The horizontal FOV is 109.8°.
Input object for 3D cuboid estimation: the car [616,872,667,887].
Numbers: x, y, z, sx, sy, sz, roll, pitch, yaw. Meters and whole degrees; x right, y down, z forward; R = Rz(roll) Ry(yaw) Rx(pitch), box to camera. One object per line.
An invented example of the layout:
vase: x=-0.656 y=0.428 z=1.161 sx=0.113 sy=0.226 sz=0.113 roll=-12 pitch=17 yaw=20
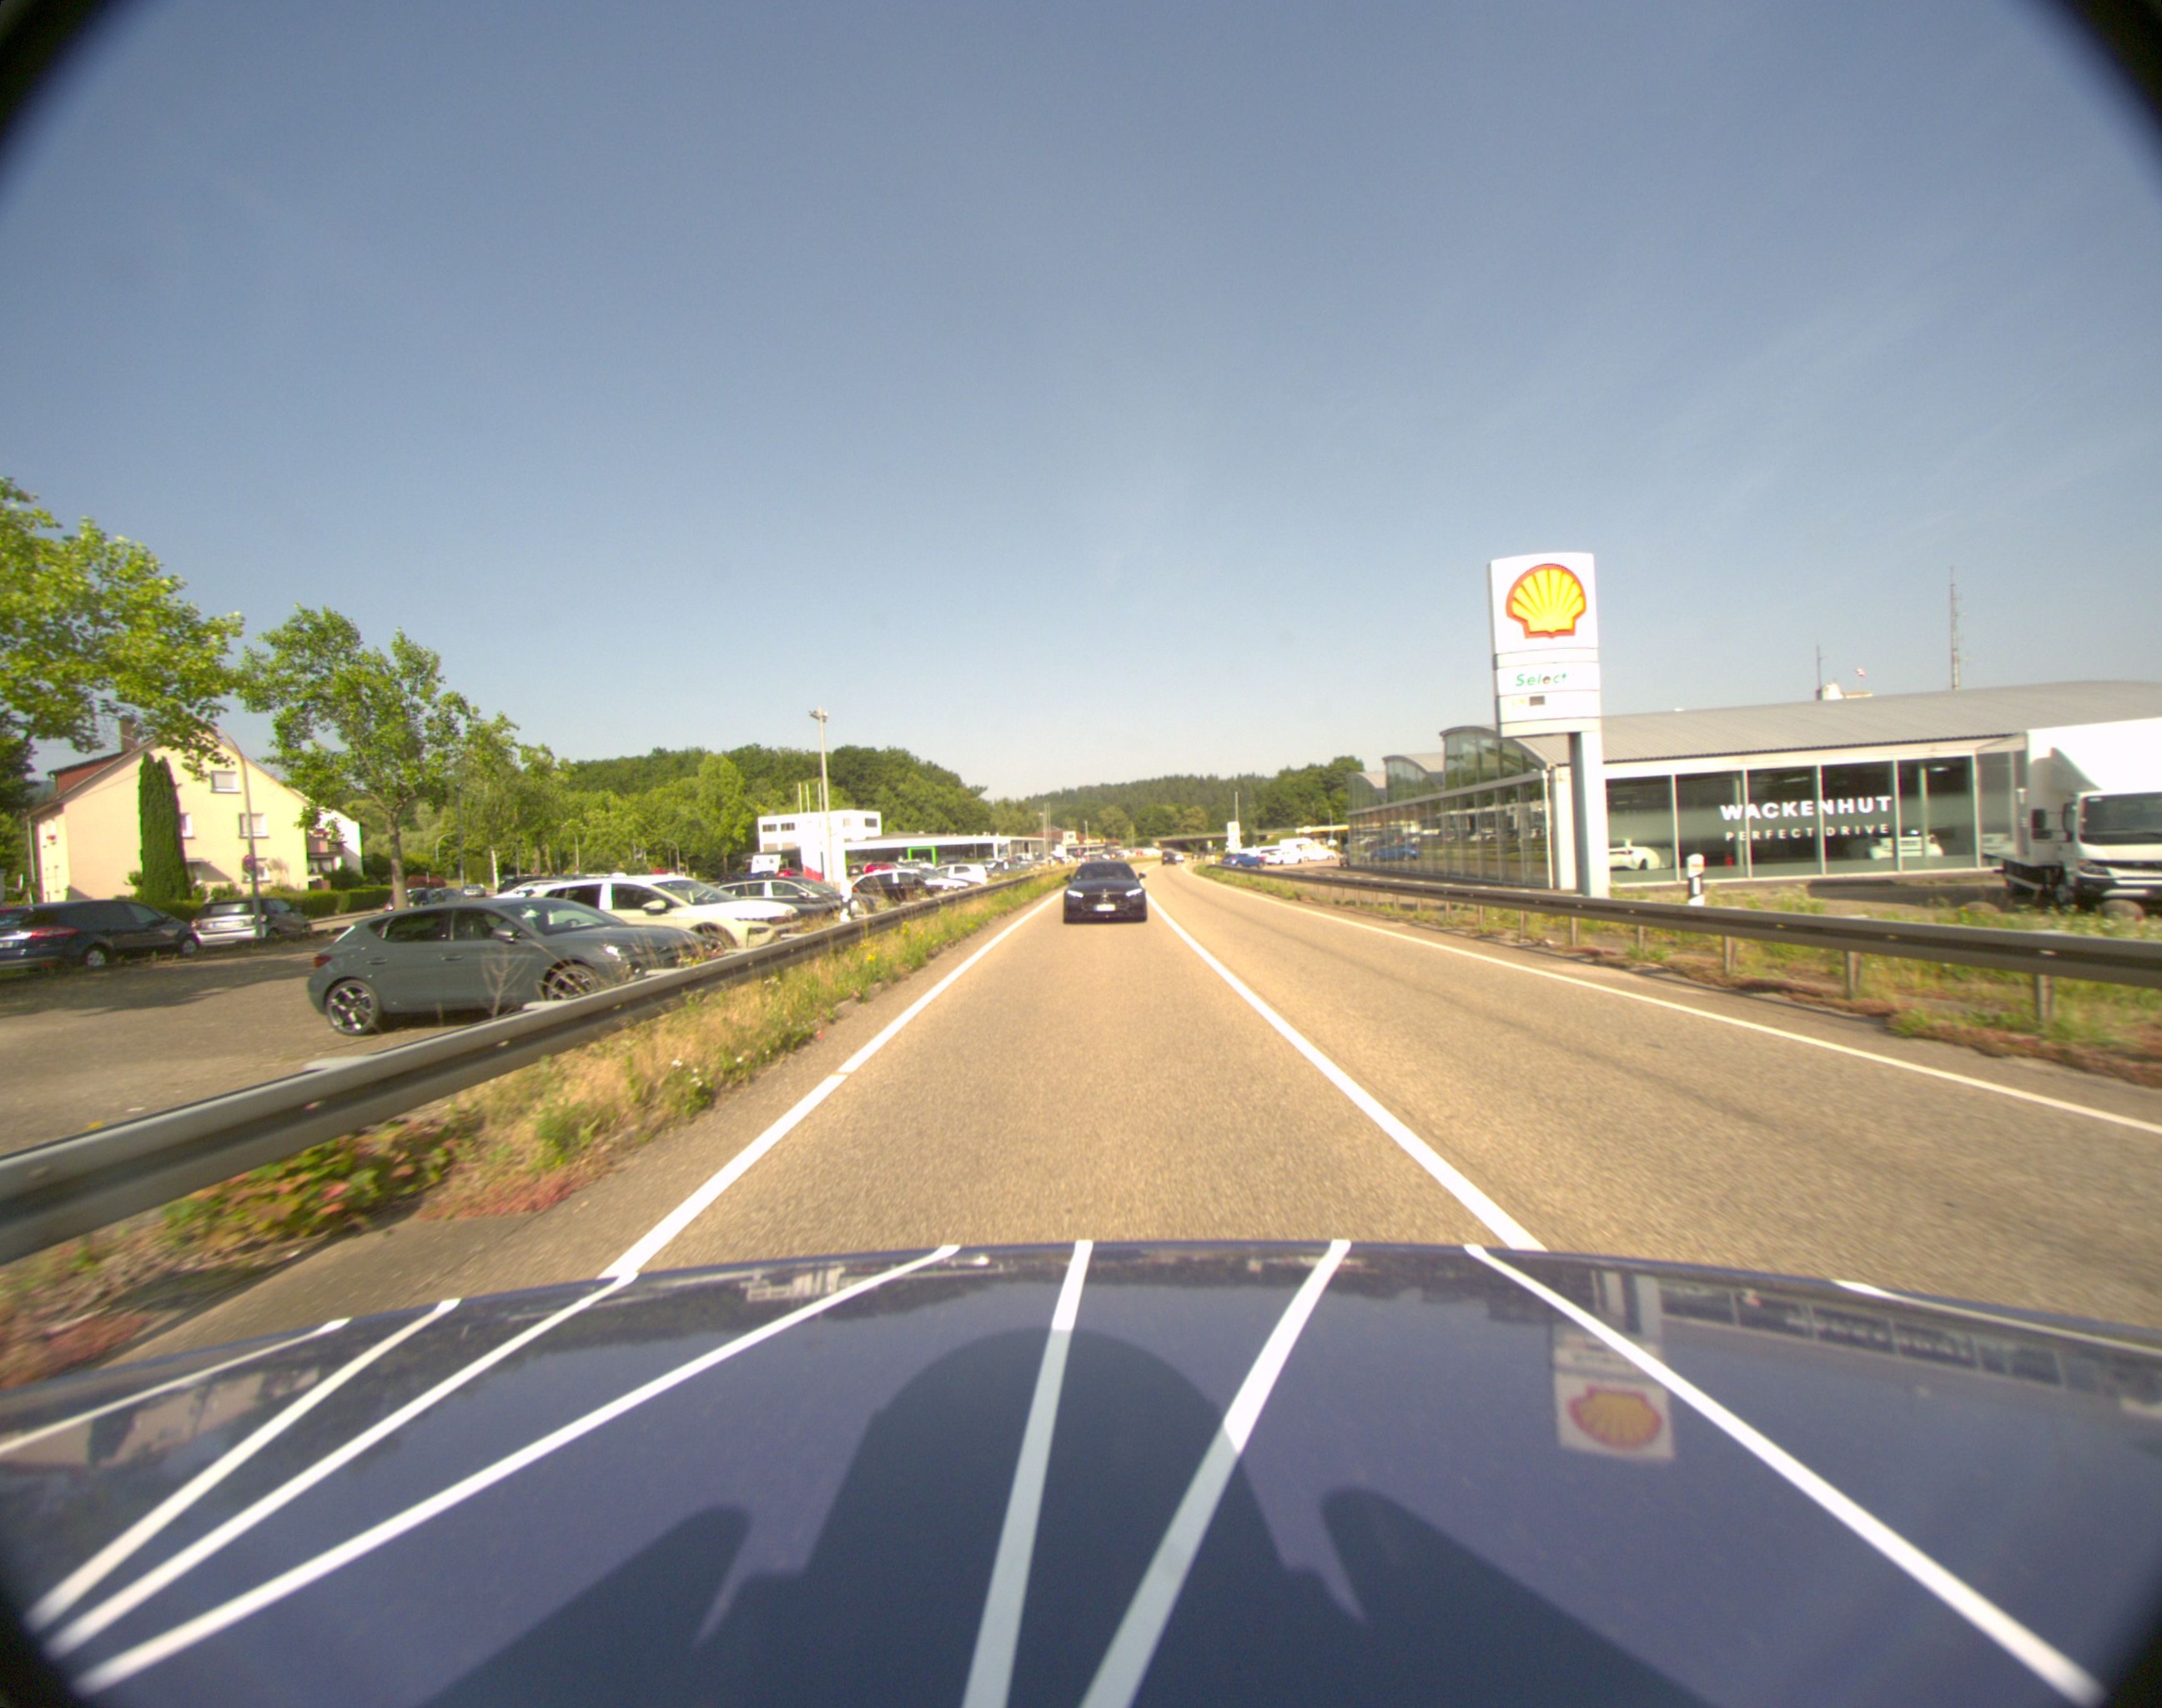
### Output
car: x=-50.142 y=2.895 z=86.751 sx=4.752 sy=1.537 sz=1.775 roll=-1 pitch=1 yaw=-9

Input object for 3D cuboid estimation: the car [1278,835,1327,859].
car: x=29.136 y=-0.865 z=100.026 sx=5.732 sy=2.729 sz=2.287 roll=-4 pitch=1 yaw=8

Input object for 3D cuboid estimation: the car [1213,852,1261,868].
car: x=14.801 y=0.558 z=71.933 sx=4.402 sy=1.359 sz=1.849 roll=-2 pitch=0 yaw=-33

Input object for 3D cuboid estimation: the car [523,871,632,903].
car: x=-28.006 y=1.794 z=42.378 sx=4.637 sy=1.513 sz=1.862 roll=-2 pitch=1 yaw=-12

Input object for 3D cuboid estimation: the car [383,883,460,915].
car: x=-29.659 y=1.988 z=34.293 sx=1.596 sy=1.179 sz=3.655 roll=-2 pitch=1 yaw=-24

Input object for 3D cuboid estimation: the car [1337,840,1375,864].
car: x=21.244 y=-0.102 z=58.905 sx=1.809 sy=1.703 sz=4.411 roll=-2 pitch=-1 yaw=8

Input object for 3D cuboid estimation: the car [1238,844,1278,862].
car: x=22.275 y=-0.111 z=95.751 sx=4.680 sy=1.847 sz=2.145 roll=-4 pitch=0 yaw=7

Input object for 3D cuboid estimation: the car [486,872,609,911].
car: x=-25.792 y=1.778 z=36.936 sx=4.501 sy=1.591 sz=1.838 roll=-2 pitch=1 yaw=-19

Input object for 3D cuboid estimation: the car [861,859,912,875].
car: x=-20.469 y=1.381 z=80.015 sx=4.744 sy=1.556 sz=1.933 roll=-1 pitch=1 yaw=10

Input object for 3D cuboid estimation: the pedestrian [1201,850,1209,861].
pedestrian: x=19.762 y=0.287 z=120.854 sx=0.848 sy=1.680 sz=1.146 roll=-1 pitch=1 yaw=27

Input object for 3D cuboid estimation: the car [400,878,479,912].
car: x=-32.990 y=2.046 z=39.213 sx=1.788 sy=1.466 sz=3.981 roll=-2 pitch=1 yaw=-20

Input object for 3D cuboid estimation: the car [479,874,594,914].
car: x=-23.857 y=1.734 z=33.442 sx=3.769 sy=1.513 sz=1.654 roll=-2 pitch=0 yaw=-22

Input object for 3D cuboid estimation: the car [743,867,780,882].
car: x=-37.608 y=2.446 z=89.504 sx=1.837 sy=1.537 sz=4.466 roll=-1 pitch=1 yaw=10

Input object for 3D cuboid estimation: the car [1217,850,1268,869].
car: x=14.520 y=0.475 z=68.146 sx=4.239 sy=1.498 sz=1.980 roll=-2 pitch=0 yaw=-33

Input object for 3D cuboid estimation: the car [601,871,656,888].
car: x=-48.263 y=2.707 z=81.141 sx=4.754 sy=1.537 sz=1.774 roll=-1 pitch=1 yaw=-16

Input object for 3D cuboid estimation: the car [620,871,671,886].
car: x=-51.040 y=2.879 z=89.118 sx=4.751 sy=1.537 sz=1.775 roll=-1 pitch=1 yaw=-7

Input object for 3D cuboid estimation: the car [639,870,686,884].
car: x=-51.978 y=2.818 z=94.478 sx=4.748 sy=1.537 sz=1.776 roll=-1 pitch=1 yaw=0

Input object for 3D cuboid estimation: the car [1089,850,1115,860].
car: x=3.644 y=0.160 z=129.745 sx=3.992 sy=1.622 sz=1.923 roll=-2 pitch=1 yaw=17

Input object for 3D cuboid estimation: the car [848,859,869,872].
car: x=-27.654 y=1.417 z=94.596 sx=2.003 sy=1.537 sz=4.606 roll=-1 pitch=1 yaw=-9

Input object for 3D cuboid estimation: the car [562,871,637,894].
car: x=-38.412 y=2.282 z=60.771 sx=4.757 sy=1.579 sz=1.927 roll=-2 pitch=1 yaw=-25

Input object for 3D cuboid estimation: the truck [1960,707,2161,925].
truck: x=20.450 y=-0.767 z=15.266 sx=2.799 sy=3.536 sz=8.227 roll=-3 pitch=0 yaw=44

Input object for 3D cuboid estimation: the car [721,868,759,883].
car: x=-40.345 y=2.549 z=89.964 sx=1.837 sy=1.537 sz=4.466 roll=-1 pitch=1 yaw=12

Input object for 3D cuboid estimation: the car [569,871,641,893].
car: x=-39.381 y=2.289 z=62.986 sx=4.756 sy=1.579 sz=1.928 roll=-1 pitch=1 yaw=-22

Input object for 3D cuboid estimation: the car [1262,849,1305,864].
car: x=21.206 y=0.262 z=79.518 sx=4.237 sy=1.395 sz=1.893 roll=-4 pitch=1 yaw=-33

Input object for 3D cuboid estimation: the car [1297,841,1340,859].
car: x=27.924 y=-0.426 z=89.324 sx=4.389 sy=1.797 sz=2.002 roll=-4 pitch=0 yaw=7

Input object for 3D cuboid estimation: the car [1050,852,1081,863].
car: x=-2.263 y=0.569 z=110.906 sx=4.040 sy=1.477 sz=1.724 roll=-1 pitch=1 yaw=17

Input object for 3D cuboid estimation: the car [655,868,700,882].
car: x=-51.578 y=2.680 z=97.082 sx=4.748 sy=1.537 sz=1.776 roll=-1 pitch=1 yaw=0

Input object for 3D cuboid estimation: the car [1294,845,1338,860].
car: x=26.849 y=-0.146 z=86.846 sx=4.474 sy=1.390 sz=1.967 roll=-3 pitch=0 yaw=7

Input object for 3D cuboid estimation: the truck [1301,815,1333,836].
truck: x=50.822 y=-6.114 z=163.122 sx=3.055 sy=4.110 sz=16.801 roll=-1 pitch=1 yaw=30

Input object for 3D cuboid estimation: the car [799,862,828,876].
car: x=-33.096 y=1.878 z=94.276 sx=2.002 sy=1.537 sz=4.609 roll=-1 pitch=1 yaw=-1

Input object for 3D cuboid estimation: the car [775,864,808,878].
car: x=-35.949 y=2.153 z=94.578 sx=2.001 sy=1.537 sz=4.611 roll=-1 pitch=1 yaw=4

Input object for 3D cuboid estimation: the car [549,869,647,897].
car: x=-30.361 y=1.814 z=47.917 sx=4.762 sy=1.513 sz=1.995 roll=-2 pitch=1 yaw=-12

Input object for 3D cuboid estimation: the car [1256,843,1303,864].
car: x=22.121 y=-0.075 z=84.859 sx=4.802 sy=1.970 sz=2.230 roll=-4 pitch=0 yaw=7
